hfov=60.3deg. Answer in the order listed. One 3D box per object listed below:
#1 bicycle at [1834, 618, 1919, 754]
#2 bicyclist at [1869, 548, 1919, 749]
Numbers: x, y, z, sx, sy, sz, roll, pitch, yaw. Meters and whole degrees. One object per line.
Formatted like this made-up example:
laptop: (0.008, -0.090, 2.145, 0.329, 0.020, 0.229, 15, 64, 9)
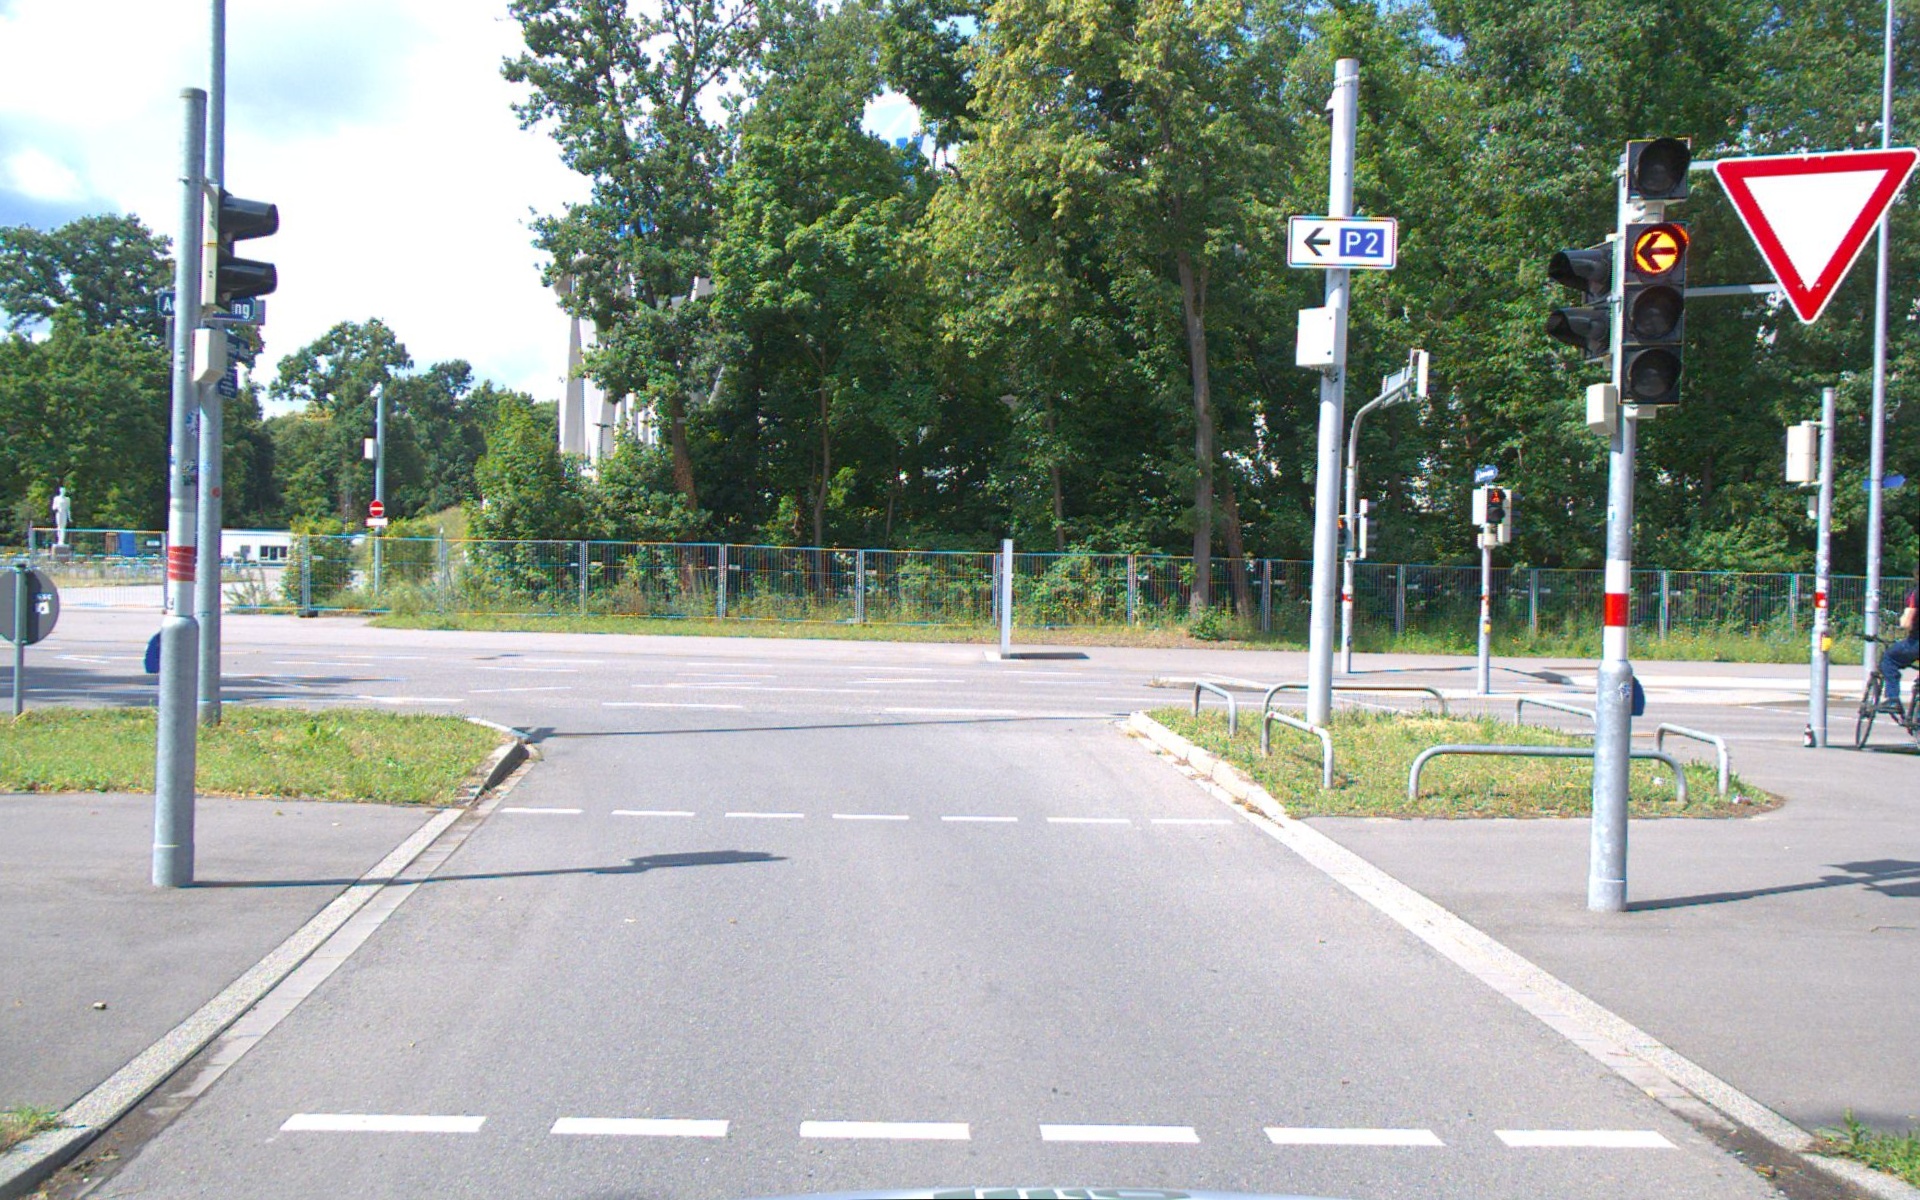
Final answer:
bicycle: (9.236, 0.793, 15.903, 0.861, 1.227, 1.899, 1, 0, 8)
bicyclist: (9.206, 0.454, 15.516, 0.866, 1.829, 0.979, 1, -1, 7)
